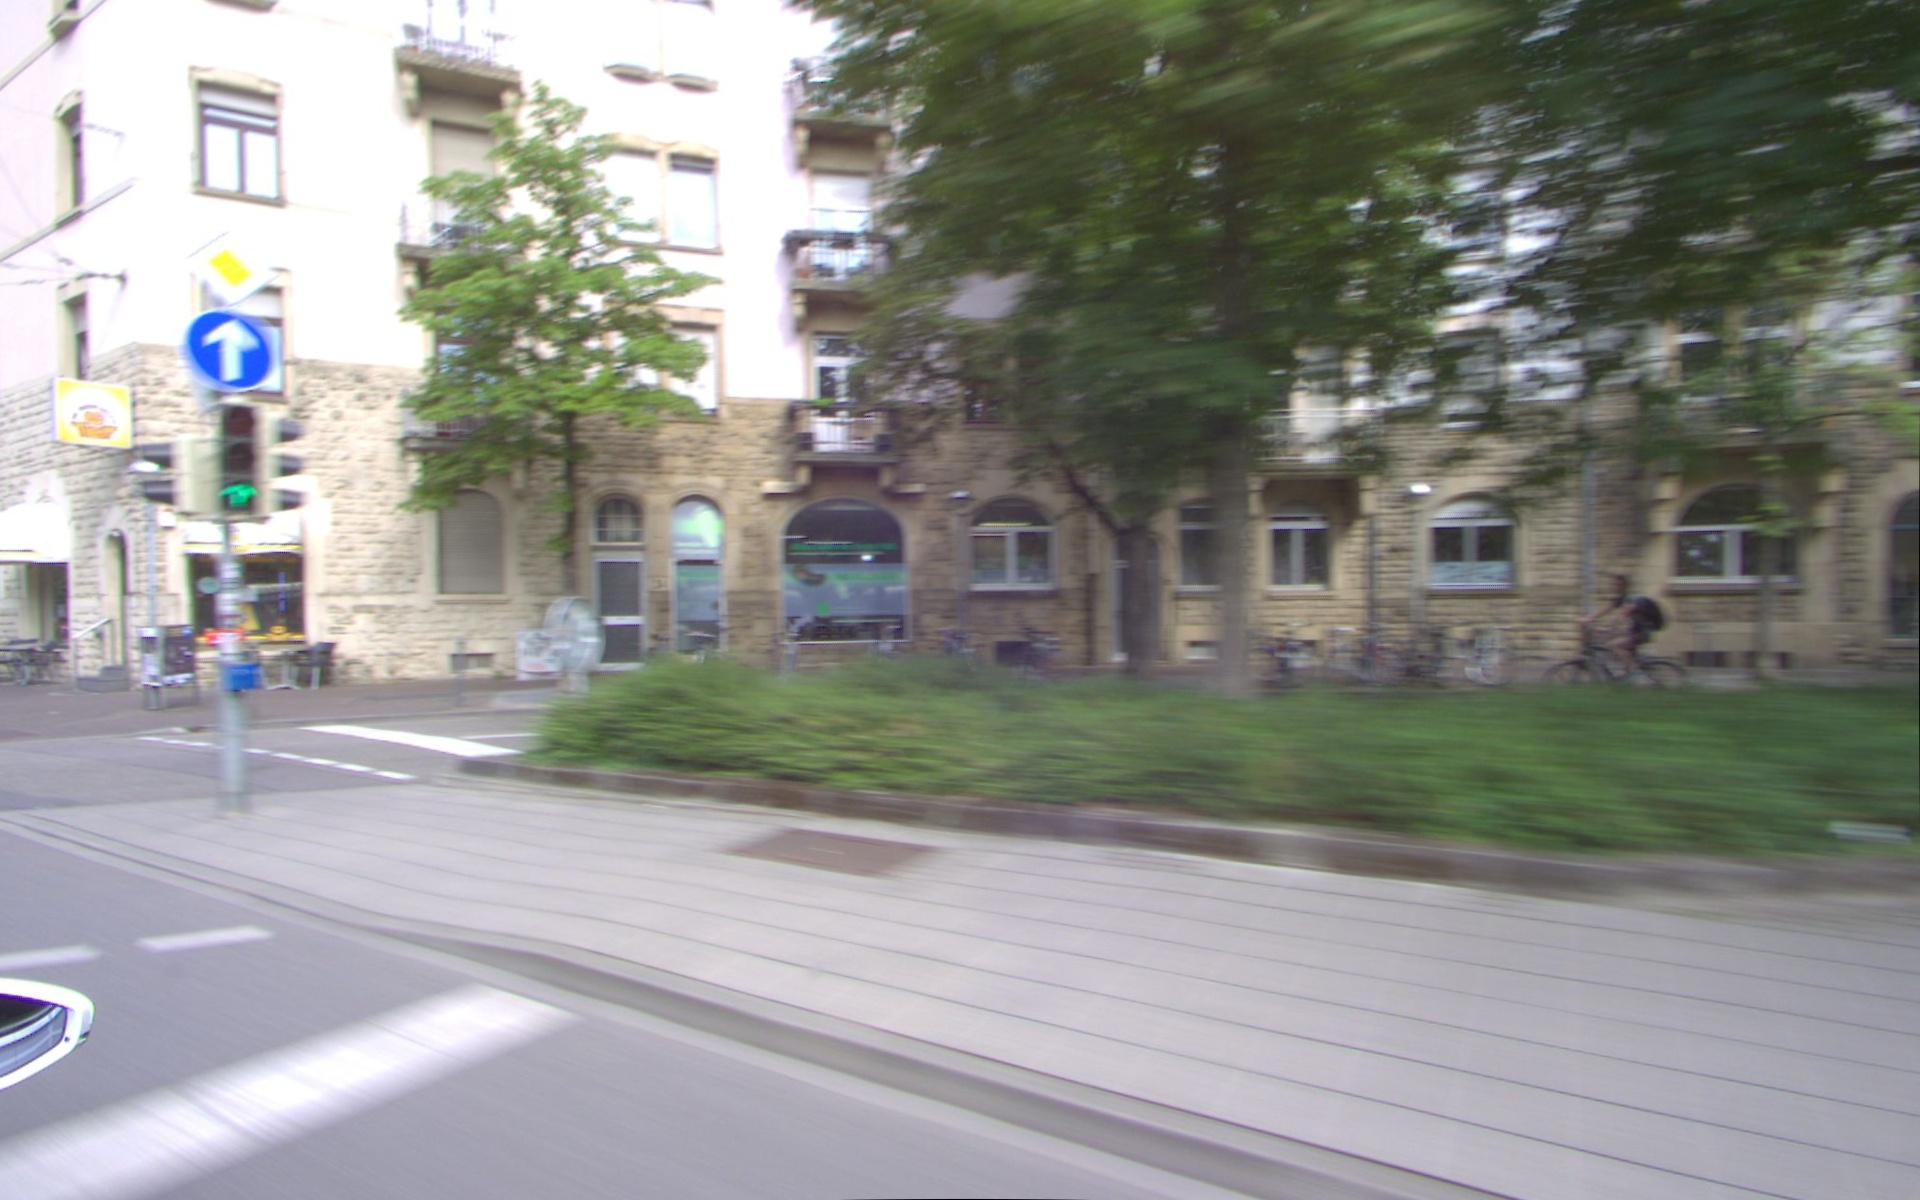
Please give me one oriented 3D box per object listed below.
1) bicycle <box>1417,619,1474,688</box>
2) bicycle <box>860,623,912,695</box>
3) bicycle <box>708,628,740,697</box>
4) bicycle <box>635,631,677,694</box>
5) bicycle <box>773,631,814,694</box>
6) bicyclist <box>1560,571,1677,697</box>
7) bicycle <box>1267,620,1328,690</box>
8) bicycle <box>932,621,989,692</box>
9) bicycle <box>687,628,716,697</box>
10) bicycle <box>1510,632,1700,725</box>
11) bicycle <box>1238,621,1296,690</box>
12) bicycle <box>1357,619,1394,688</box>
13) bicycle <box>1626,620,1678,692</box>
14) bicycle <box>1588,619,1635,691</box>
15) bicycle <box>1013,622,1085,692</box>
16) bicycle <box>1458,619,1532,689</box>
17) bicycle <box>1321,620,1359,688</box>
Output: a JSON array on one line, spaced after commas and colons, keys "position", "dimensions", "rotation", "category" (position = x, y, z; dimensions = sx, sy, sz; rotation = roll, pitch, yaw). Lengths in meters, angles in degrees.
[{"position": [8.686, 0.931, 17.963], "dimensions": [0.572, 1.143, 1.891], "rotation": [0, 0, 15], "category": "bicycle"}, {"position": [-1.296, 0.983, 17.251], "dimensions": [0.523, 1.143, 1.890], "rotation": [-1, 0, -15], "category": "bicycle"}, {"position": [-3.995, 1.025, 16.905], "dimensions": [0.441, 1.069, 1.646], "rotation": [-1, 0, -15], "category": "bicycle"}, {"position": [-5.203, 1.036, 17.107], "dimensions": [0.593, 0.985, 1.668], "rotation": [-1, 0, -20], "category": "bicycle"}, {"position": [-2.864, 1.040, 17.153], "dimensions": [0.523, 0.985, 1.646], "rotation": [-1, 0, -16], "category": "bicycle"}, {"position": [8.698, 0.439, 13.257], "dimensions": [1.117, 1.627, 0.646], "rotation": [0, 1, 2], "category": "bicyclist"}, {"position": [6.116, 0.972, 18.236], "dimensions": [0.522, 1.143, 1.893], "rotation": [0, 1, 2], "category": "bicycle"}, {"position": [-0.014, 0.960, 17.561], "dimensions": [0.523, 1.143, 1.890], "rotation": [-1, 0, -15], "category": "bicycle"}, {"position": [-4.394, 1.029, 16.975], "dimensions": [0.441, 1.069, 1.646], "rotation": [-1, 0, -15], "category": "bicycle"}, {"position": [8.513, 1.026, 13.276], "dimensions": [2.062, 1.167, 0.655], "rotation": [0, 1, 2], "category": "bicycle"}, {"position": [5.575, 0.985, 18.274], "dimensions": [0.522, 1.143, 1.893], "rotation": [0, 1, 2], "category": "bicycle"}, {"position": [7.486, 0.937, 18.018], "dimensions": [0.589, 1.143, 1.888], "rotation": [0, 0, 23], "category": "bicycle"}, {"position": [11.846, 0.928, 17.178], "dimensions": [0.524, 1.143, 1.886], "rotation": [0, 0, 28], "category": "bicycle"}, {"position": [11.316, 0.924, 17.417], "dimensions": [0.524, 1.143, 1.886], "rotation": [0, 0, 28], "category": "bicycle"}, {"position": [1.552, 0.972, 17.802], "dimensions": [0.655, 1.143, 1.890], "rotation": [-1, 0, -16], "category": "bicycle"}, {"position": [9.476, 0.927, 17.817], "dimensions": [0.583, 1.143, 1.893], "rotation": [0, 0, 9], "category": "bicycle"}, {"position": [6.924, 0.943, 18.209], "dimensions": [0.554, 1.143, 1.888], "rotation": [0, 0, 23], "category": "bicycle"}]
